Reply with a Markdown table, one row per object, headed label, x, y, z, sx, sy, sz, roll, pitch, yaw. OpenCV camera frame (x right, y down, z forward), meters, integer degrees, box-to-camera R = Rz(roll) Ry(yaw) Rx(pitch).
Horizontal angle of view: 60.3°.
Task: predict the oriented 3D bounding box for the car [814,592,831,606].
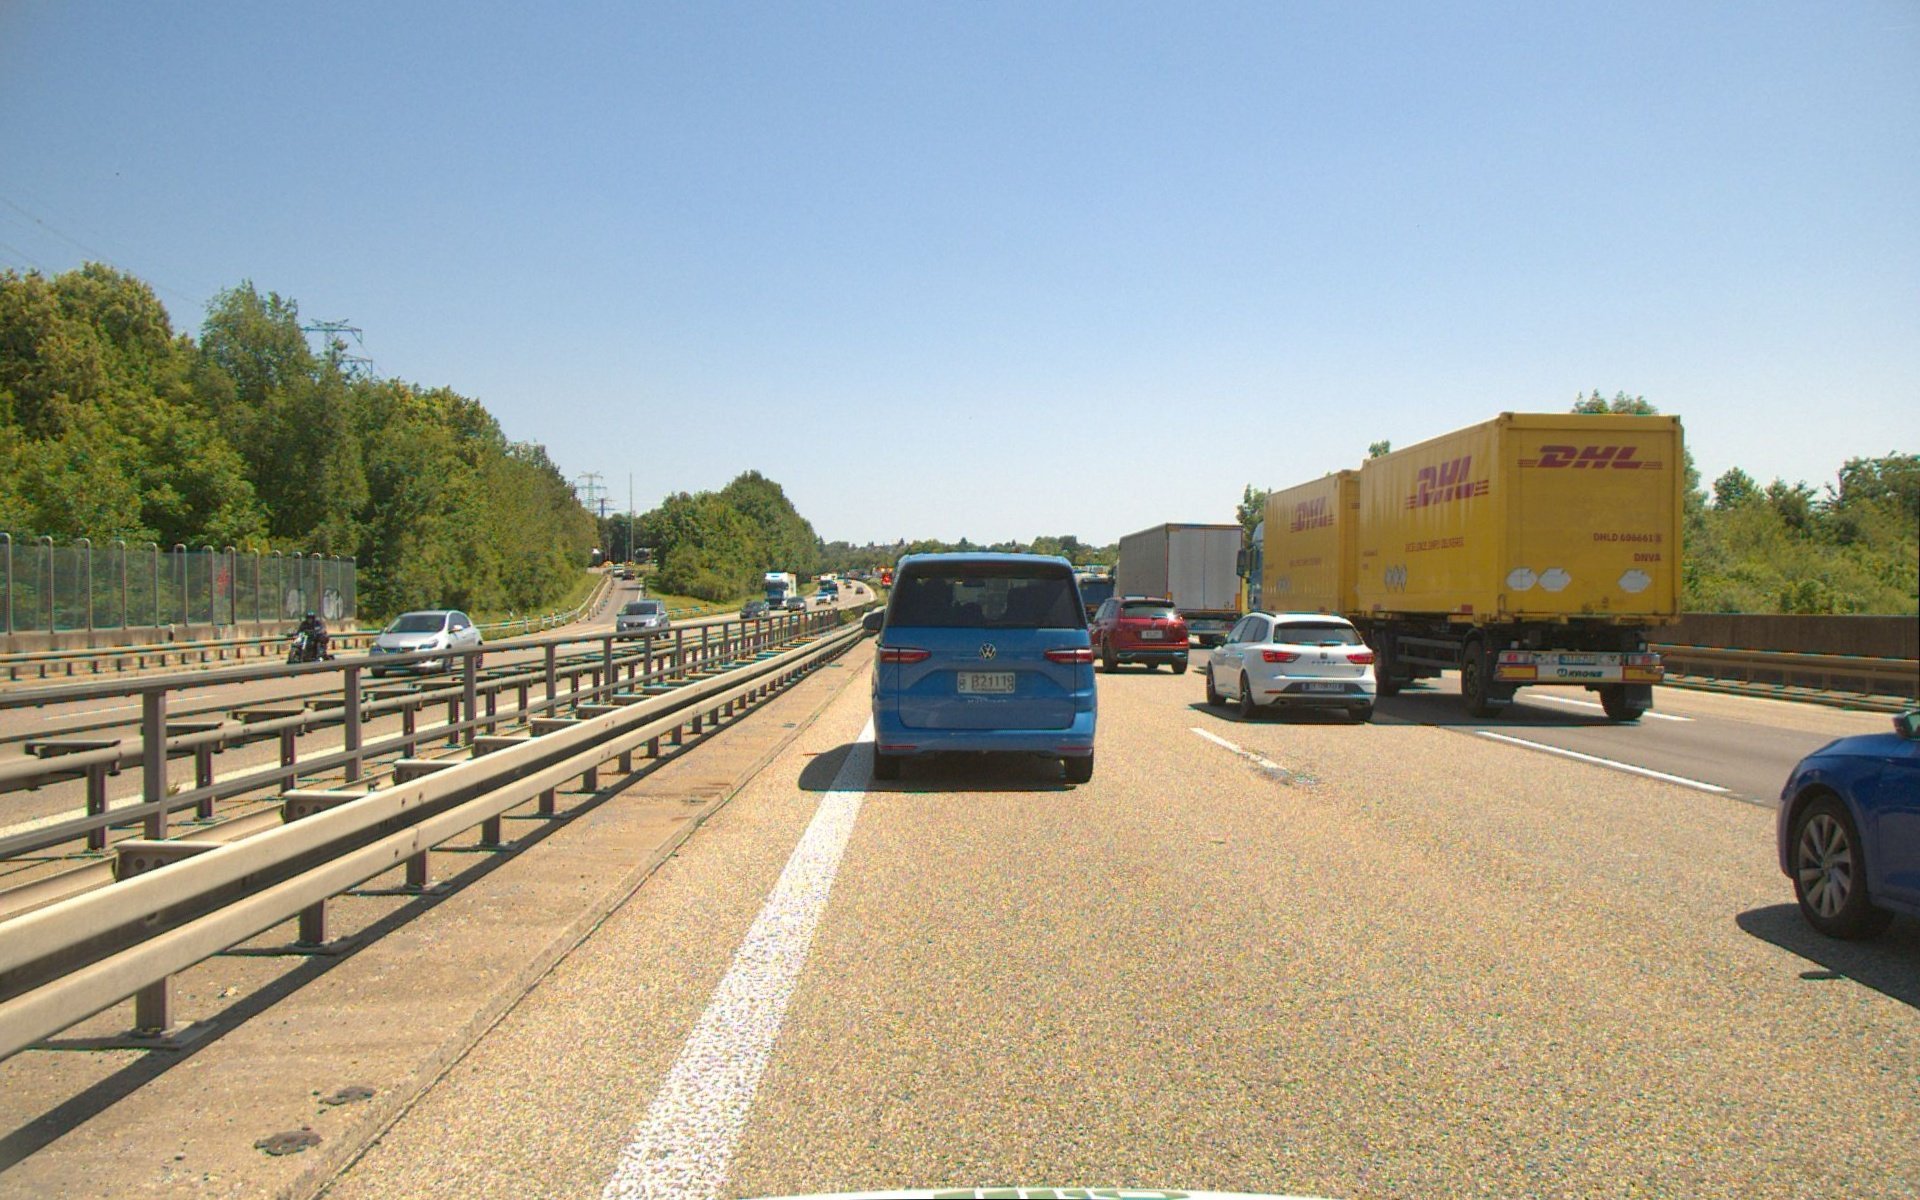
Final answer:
| label | x | y | z | sx | sy | sz | roll | pitch | yaw |
| --- | --- | --- | --- | --- | --- | --- | --- | --- | --- |
| car | -18.317 | -0.166 | 220.577 | 1.883 | 1.718 | 4.120 | -2 | 0 | -1 |

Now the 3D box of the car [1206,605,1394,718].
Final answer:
| label | x | y | z | sx | sy | sz | roll | pitch | yaw |
| --- | --- | --- | --- | --- | --- | --- | --- | --- | --- |
| car | 4.661 | 0.798 | 23.271 | 1.745 | 1.411 | 4.187 | 0 | 0 | -1 |

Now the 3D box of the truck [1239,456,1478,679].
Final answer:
| label | x | y | z | sx | sy | sz | roll | pitch | yaw |
| --- | --- | --- | --- | --- | --- | --- | --- | --- | --- |
| truck | 8.306 | -0.564 | 36.030 | 2.666 | 4.125 | 10.335 | 1 | 0 | 0 |

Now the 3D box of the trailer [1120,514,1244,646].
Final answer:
| label | x | y | z | sx | sy | sz | roll | pitch | yaw |
| --- | --- | --- | --- | --- | --- | --- | --- | --- | --- |
| trailer | 7.735 | -0.617 | 59.127 | 2.699 | 4.219 | 11.309 | 1 | 0 | -1 |

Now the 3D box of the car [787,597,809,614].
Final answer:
| label | x | y | z | sx | sy | sz | roll | pitch | yaw |
| --- | --- | --- | --- | --- | --- | --- | --- | --- | --- |
| car | -16.026 | 0.525 | 163.510 | 1.792 | 1.637 | 4.168 | -1 | 0 | -1 |

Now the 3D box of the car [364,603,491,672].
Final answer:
| label | x | y | z | sx | sy | sz | roll | pitch | yaw |
| --- | --- | --- | --- | --- | --- | --- | --- | --- | --- |
| car | -12.637 | 0.851 | 39.514 | 1.680 | 1.459 | 4.175 | -3 | 0 | -1 |

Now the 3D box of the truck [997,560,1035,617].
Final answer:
| label | x | y | z | sx | sy | sz | roll | pitch | yaw |
| --- | --- | --- | --- | --- | --- | --- | --- | --- | --- |
| truck | 5.213 | -1.023 | 156.105 | 2.776 | 5.128 | 11.141 | 1 | -1 | -2 |

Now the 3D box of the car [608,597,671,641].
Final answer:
| label | x | y | z | sx | sy | sz | roll | pitch | yaw |
| --- | --- | --- | --- | --- | --- | --- | --- | --- | --- |
| car | -13.140 | 0.768 | 68.059 | 1.793 | 1.637 | 4.168 | -3 | 0 | -1 |

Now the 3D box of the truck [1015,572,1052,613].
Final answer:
| label | x | y | z | sx | sy | sz | roll | pitch | yaw |
| --- | --- | --- | --- | --- | --- | --- | --- | --- | --- |
| truck | 6.025 | -0.574 | 136.906 | 2.308 | 3.275 | 9.736 | 1 | 0 | -2 |

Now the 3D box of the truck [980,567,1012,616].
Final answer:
| label | x | y | z | sx | sy | sz | roll | pitch | yaw |
| --- | --- | --- | --- | --- | --- | --- | --- | --- | --- |
| truck | 3.894 | -0.849 | 181.205 | 2.776 | 5.128 | 11.811 | 1 | 0 | -2 |

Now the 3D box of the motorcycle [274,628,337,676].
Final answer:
| label | x | y | z | sx | sy | sz | roll | pitch | yaw |
| --- | --- | --- | --- | --- | --- | --- | --- | --- | --- |
| motorcycle | -16.556 | 1.292 | 41.878 | 0.687 | 1.089 | 2.305 | -1 | 1 | -1 |

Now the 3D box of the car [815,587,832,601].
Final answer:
| label | x | y | z | sx | sy | sz | roll | pitch | yaw |
| --- | --- | --- | --- | --- | --- | --- | --- | --- | --- |
| car | -18.249 | -0.801 | 220.769 | 1.883 | 1.718 | 4.120 | -2 | 0 | -1 |

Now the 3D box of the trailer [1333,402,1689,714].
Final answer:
| label | x | y | z | sx | sy | sz | roll | pitch | yaw |
| --- | --- | --- | --- | --- | --- | --- | --- | --- | --- |
| trailer | 8.311 | -0.524 | 26.374 | 2.646 | 4.094 | 8.929 | 1 | -1 | 0 |

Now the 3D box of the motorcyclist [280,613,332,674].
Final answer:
| label | x | y | z | sx | sy | sz | roll | pitch | yaw |
| --- | --- | --- | --- | --- | --- | --- | --- | --- | --- |
| motorcyclist | -16.517 | 1.093 | 41.796 | 0.879 | 1.466 | 1.082 | -1 | 1 | -1 |

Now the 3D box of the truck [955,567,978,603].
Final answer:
| label | x | y | z | sx | sy | sz | roll | pitch | yaw |
| --- | --- | --- | --- | --- | --- | --- | --- | --- | --- |
| truck | 0.921 | -2.174 | 244.298 | 2.776 | 5.128 | 12.907 | 1 | 0 | -2 |

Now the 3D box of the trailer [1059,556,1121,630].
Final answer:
| label | x | y | z | sx | sy | sz | roll | pitch | yaw |
| --- | --- | --- | --- | --- | --- | --- | --- | --- | --- |
| trailer | 7.096 | -0.334 | 91.691 | 2.331 | 3.809 | 11.185 | 1 | 0 | -1 |

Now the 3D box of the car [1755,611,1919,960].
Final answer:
| label | x | y | z | sx | sy | sz | roll | pitch | yaw |
| --- | --- | --- | --- | --- | --- | --- | --- | --- | --- |
| car | 4.918 | 0.799 | 6.209 | 1.675 | 1.465 | 4.499 | 0 | 0 | -1 |

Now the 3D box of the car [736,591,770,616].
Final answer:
| label | x | y | z | sx | sy | sz | roll | pitch | yaw |
| --- | --- | --- | --- | --- | --- | --- | --- | --- | --- |
| car | -14.012 | 0.223 | 112.039 | 1.792 | 1.637 | 4.168 | -2 | 0 | -1 |

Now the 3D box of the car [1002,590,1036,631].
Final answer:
| label | x | y | z | sx | sy | sz | roll | pitch | yaw |
| --- | --- | --- | --- | --- | --- | --- | --- | --- | --- |
| car | 3.072 | 0.560 | 86.161 | 1.551 | 2.049 | 3.492 | 1 | -1 | -1 |

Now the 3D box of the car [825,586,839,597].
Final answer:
| label | x | y | z | sx | sy | sz | roll | pitch | yaw |
| --- | --- | --- | --- | --- | --- | --- | --- | --- | --- |
| car | -20.131 | -1.353 | 259.712 | 1.883 | 1.718 | 4.120 | -2 | 0 | -1 |

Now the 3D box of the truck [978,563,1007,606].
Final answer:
| label | x | y | z | sx | sy | sz | roll | pitch | yaw |
| --- | --- | --- | --- | --- | --- | --- | --- | --- | --- |
| truck | 3.932 | -1.862 | 201.662 | 2.776 | 4.971 | 13.214 | 1 | 0 | -2 |

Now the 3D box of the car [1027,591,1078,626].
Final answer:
| label | x | y | z | sx | sy | sz | roll | pitch | yaw |
| --- | --- | --- | --- | --- | --- | --- | --- | --- | --- |
| car | 3.905 | 0.350 | 70.189 | 1.801 | 1.438 | 3.998 | 0 | 0 | -2 |

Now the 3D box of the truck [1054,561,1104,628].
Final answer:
| label | x | y | z | sx | sy | sz | roll | pitch | yaw |
| --- | --- | --- | --- | --- | --- | --- | --- | --- | --- |
| truck | 6.984 | -0.314 | 97.638 | 2.320 | 3.787 | 6.031 | 1 | -1 | -1 |

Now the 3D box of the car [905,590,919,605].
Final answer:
| label | x | y | z | sx | sy | sz | roll | pitch | yaw |
| --- | --- | --- | --- | --- | --- | --- | --- | --- | --- |
| car | -6.293 | -0.353 | 217.323 | 1.704 | 1.944 | 3.680 | 1 | -1 | -1 |

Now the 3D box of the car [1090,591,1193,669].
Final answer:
| label | x | y | z | sx | sy | sz | roll | pitch | yaw |
| --- | --- | --- | --- | --- | --- | --- | --- | --- | --- |
| car | 3.998 | 0.631 | 37.002 | 1.813 | 1.636 | 3.999 | 0 | 0 | -1 |

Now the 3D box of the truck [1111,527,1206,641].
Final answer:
| label | x | y | z | sx | sy | sz | roll | pitch | yaw |
| --- | --- | --- | --- | --- | --- | --- | --- | --- | --- |
| truck | 7.650 | -0.562 | 64.551 | 2.712 | 4.167 | 6.982 | 1 | 0 | -1 |

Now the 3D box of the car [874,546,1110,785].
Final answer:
| label | x | y | z | sx | sy | sz | roll | pitch | yaw |
| --- | --- | --- | --- | --- | --- | --- | --- | --- | --- |
| car | 0.231 | 0.512 | 14.957 | 1.844 | 1.869 | 3.999 | 0 | 0 | -1 |

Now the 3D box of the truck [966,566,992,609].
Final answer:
| label | x | y | z | sx | sy | sz | roll | pitch | yaw |
| --- | --- | --- | --- | --- | --- | --- | --- | --- | --- |
| truck | 2.470 | -1.548 | 219.747 | 2.776 | 5.467 | 12.549 | 1 | 0 | -2 |

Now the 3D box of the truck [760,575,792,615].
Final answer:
| label | x | y | z | sx | sy | sz | roll | pitch | yaw |
| --- | --- | --- | --- | --- | --- | --- | --- | --- | --- |
| truck | -20.791 | -0.599 | 187.447 | 2.928 | 4.354 | 7.187 | -1 | 0 | -1 |
